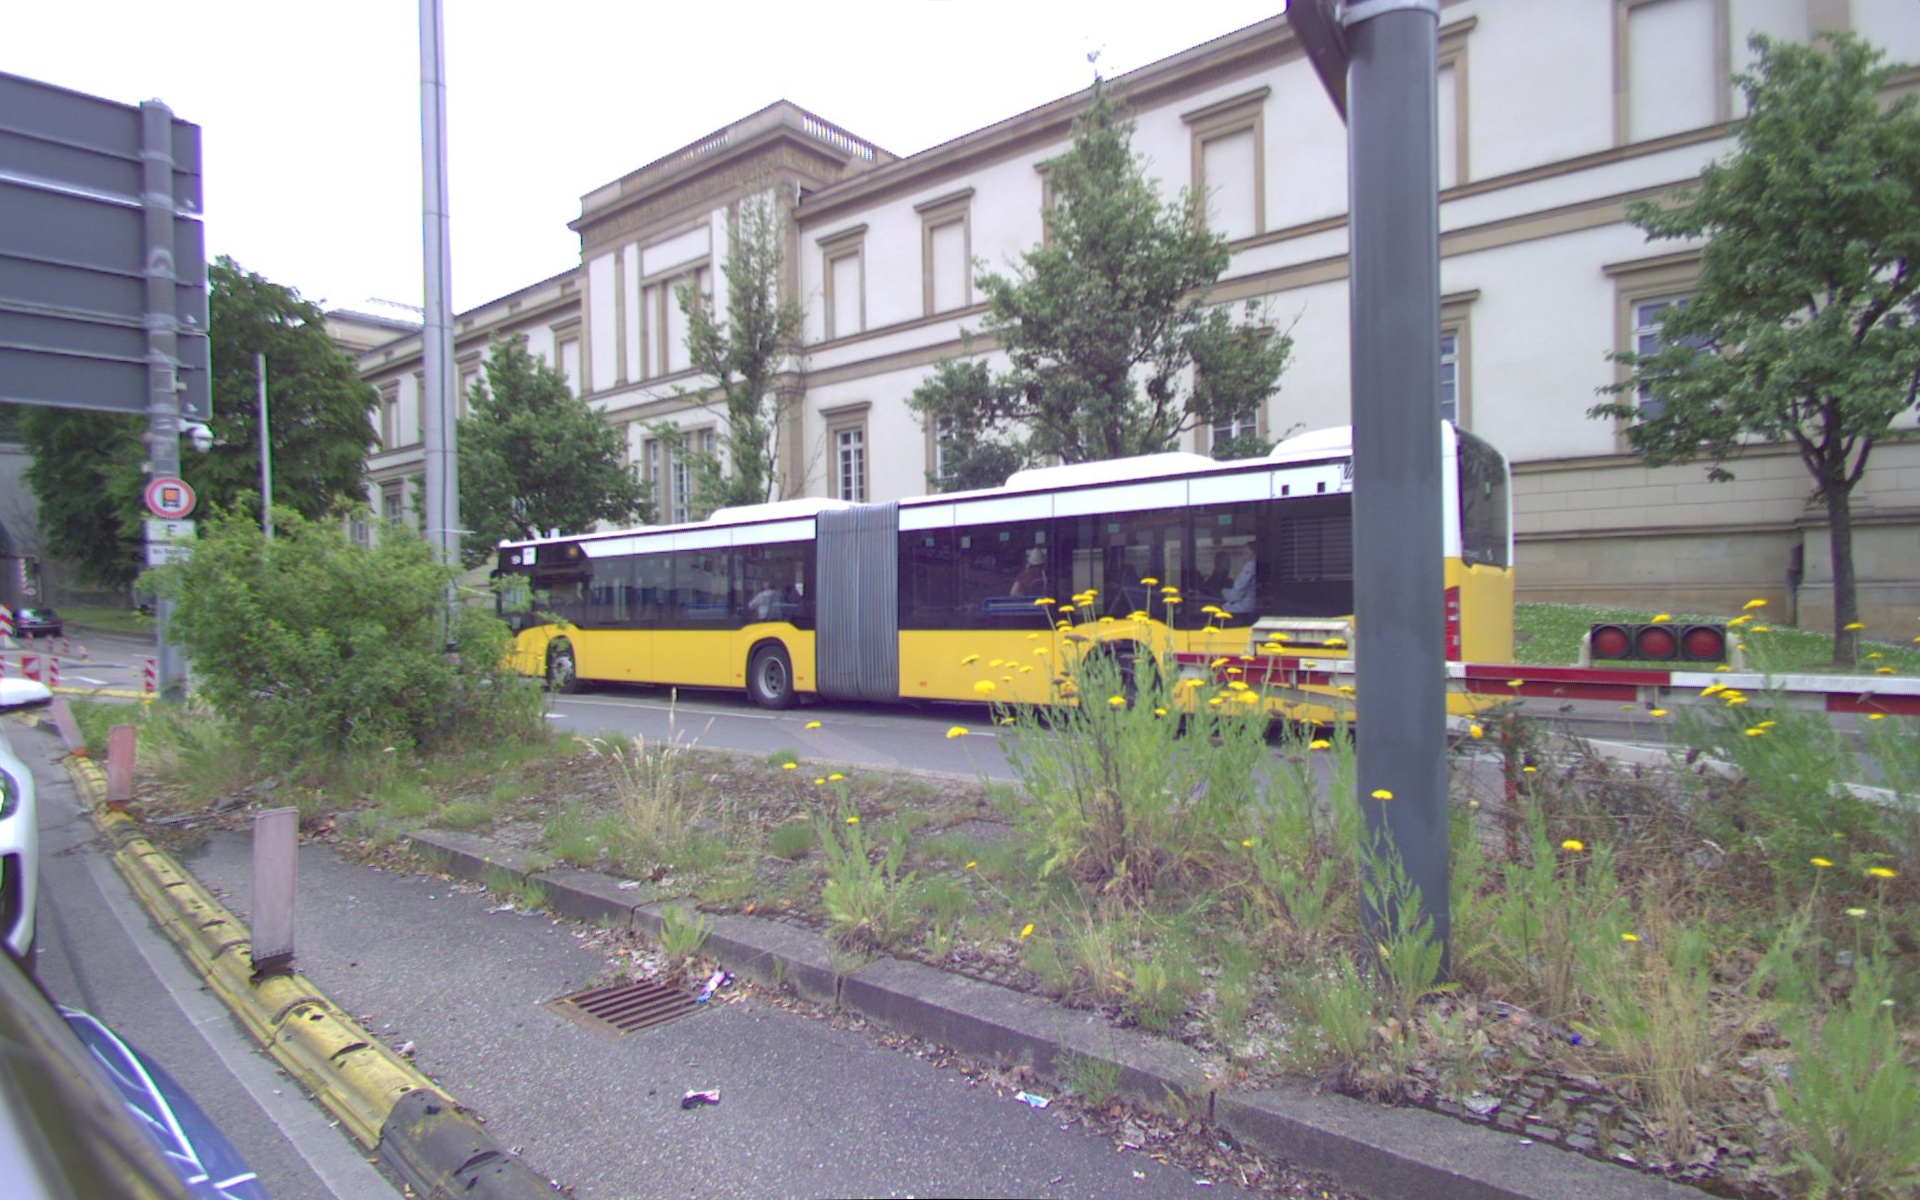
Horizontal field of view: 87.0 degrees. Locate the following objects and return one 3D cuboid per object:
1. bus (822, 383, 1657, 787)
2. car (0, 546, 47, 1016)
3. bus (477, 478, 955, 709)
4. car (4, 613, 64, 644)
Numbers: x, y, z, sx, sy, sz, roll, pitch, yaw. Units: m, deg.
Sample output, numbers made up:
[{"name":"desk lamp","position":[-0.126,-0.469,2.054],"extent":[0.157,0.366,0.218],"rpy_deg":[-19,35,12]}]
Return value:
[{"name":"bus","position":[2.509,-0.055,11.920],"extent":[9.115,3.137,2.817],"rpy_deg":[-1,0,41]},{"name":"car","position":[-5.248,0.672,4.166],"extent":[3.881,1.603,1.824],"rpy_deg":[-2,0,42]},{"name":"bus","position":[-4.785,-0.017,17.947],"extent":[9.736,3.137,2.818],"rpy_deg":[-1,0,39]},{"name":"car","position":[-47.803,1.448,52.217],"extent":[4.626,1.482,1.683],"rpy_deg":[-1,0,40]}]
